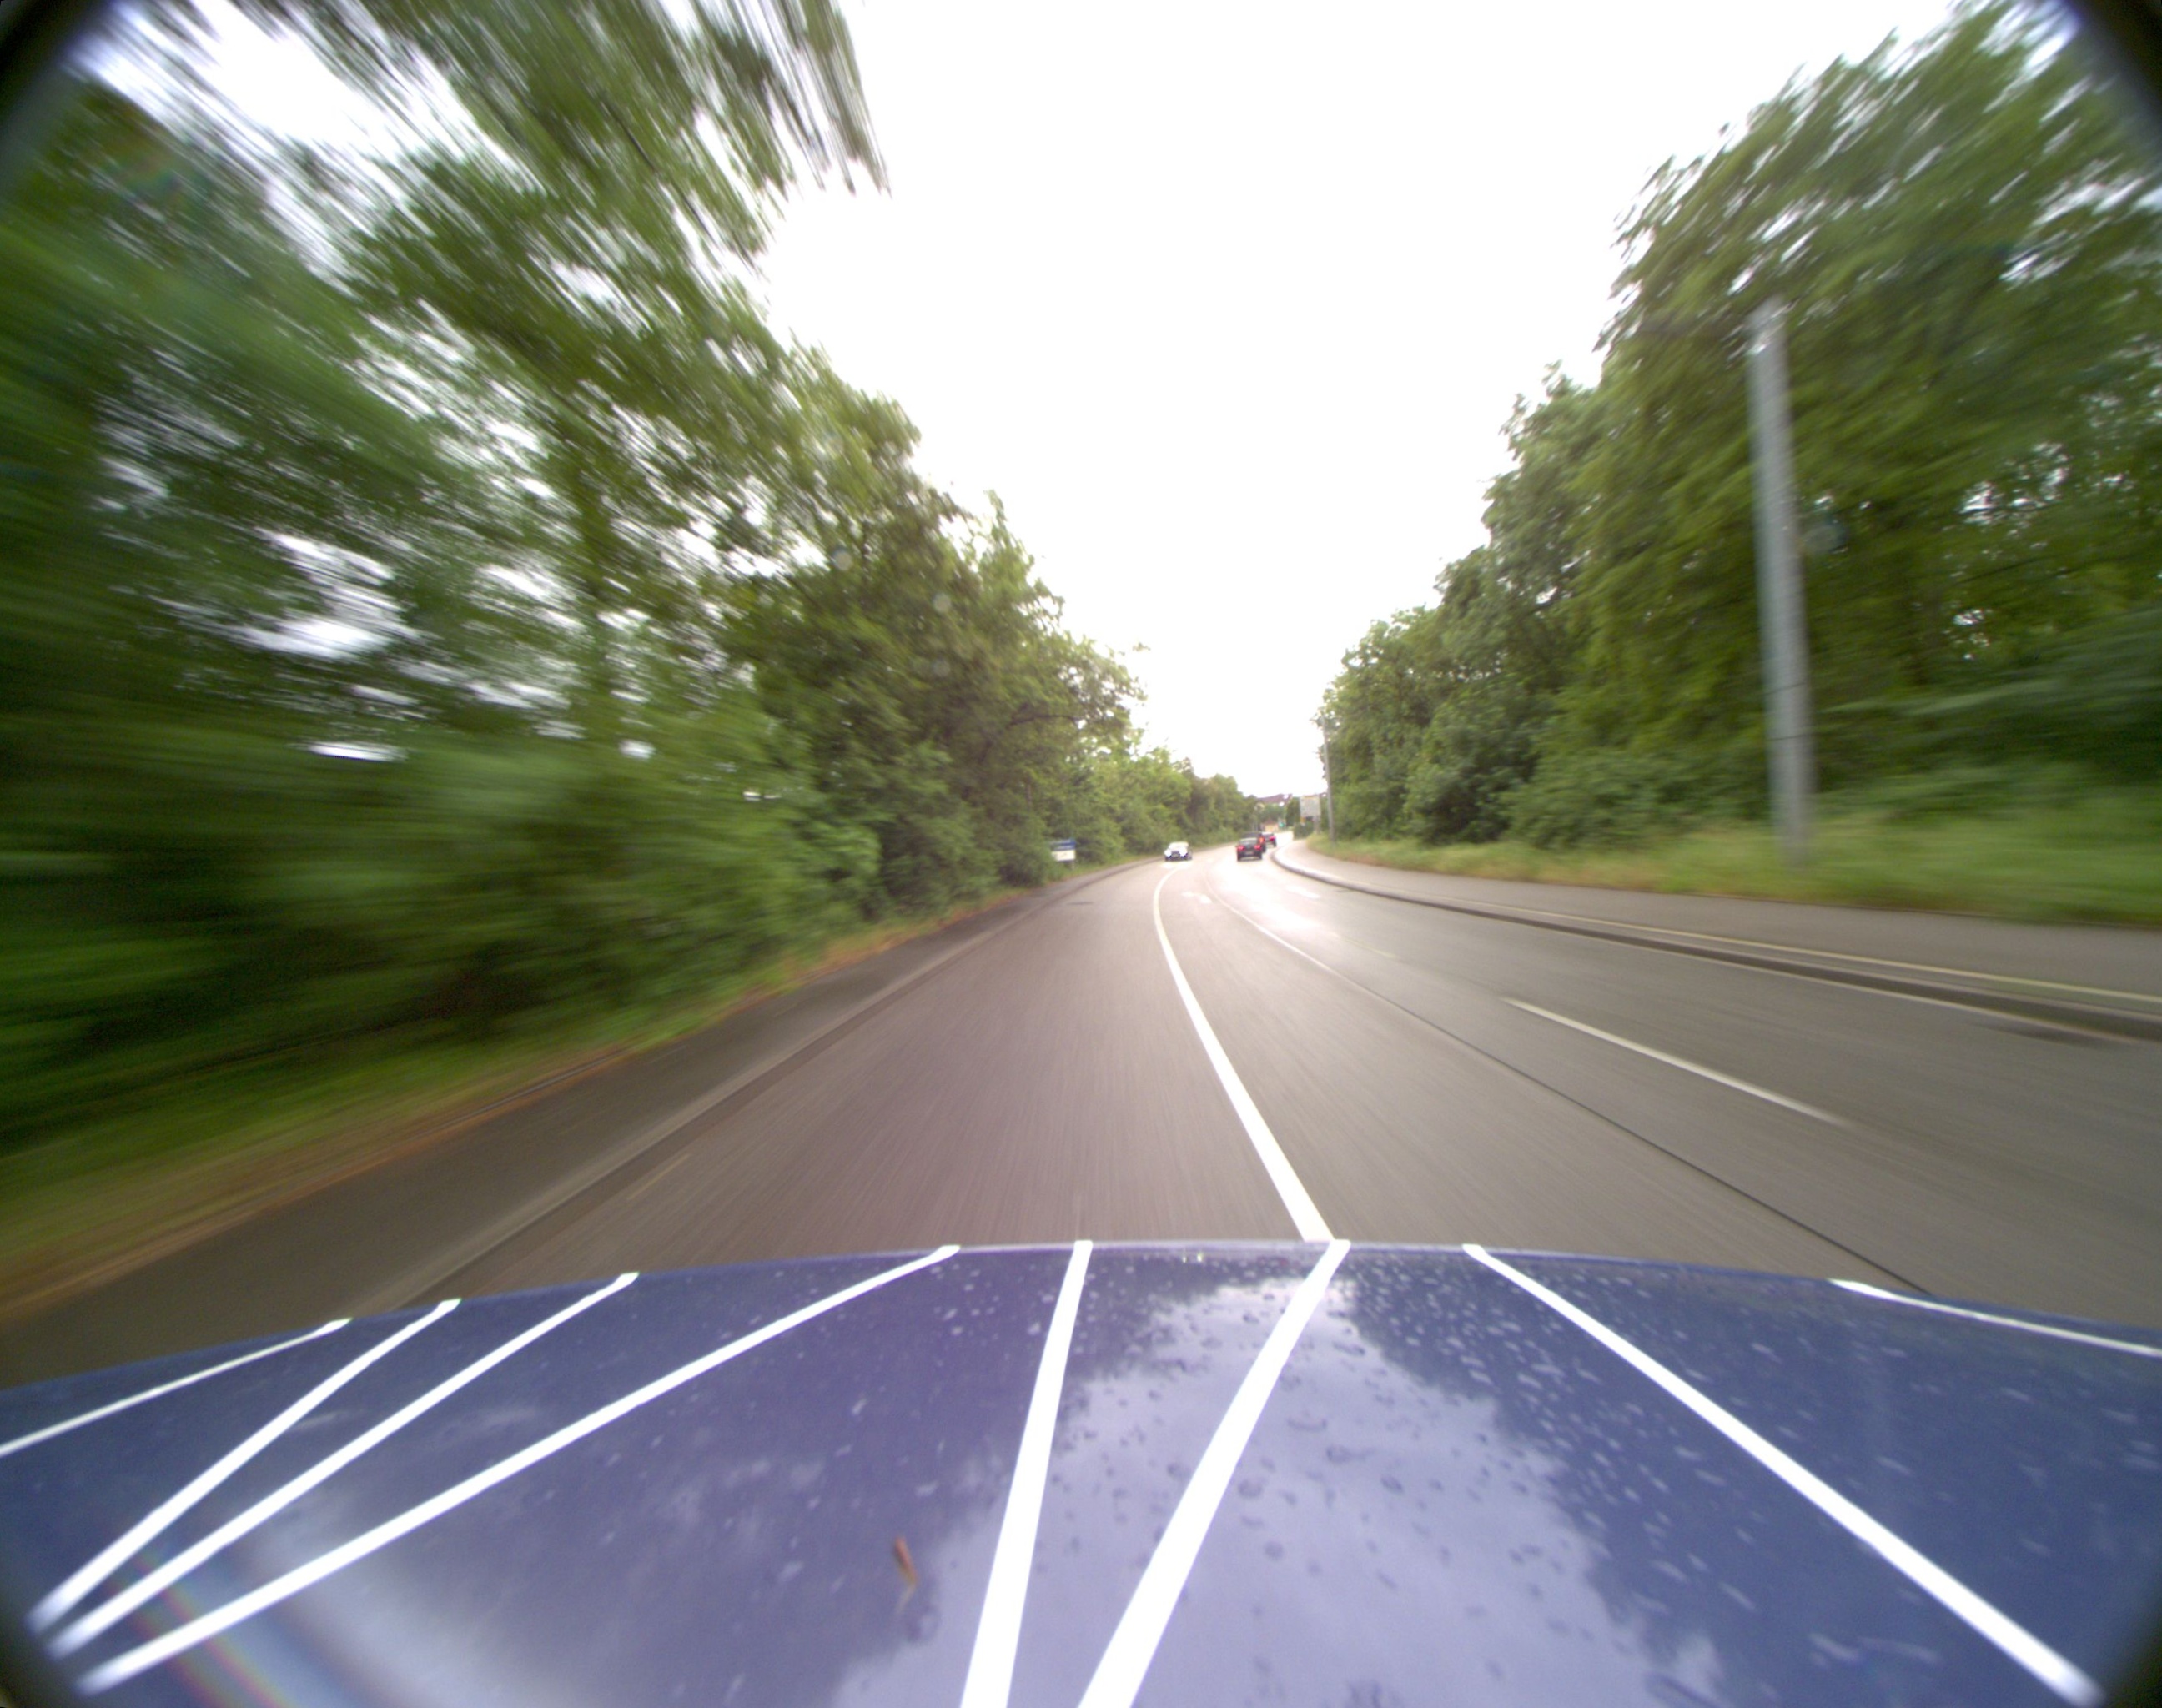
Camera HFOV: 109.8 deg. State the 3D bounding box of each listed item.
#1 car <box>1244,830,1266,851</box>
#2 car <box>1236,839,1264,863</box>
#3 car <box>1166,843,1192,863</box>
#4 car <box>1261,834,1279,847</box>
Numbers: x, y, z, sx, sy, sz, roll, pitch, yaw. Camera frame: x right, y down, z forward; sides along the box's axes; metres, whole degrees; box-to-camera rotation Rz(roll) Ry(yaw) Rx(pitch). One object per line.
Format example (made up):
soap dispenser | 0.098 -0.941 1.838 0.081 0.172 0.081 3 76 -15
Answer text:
car | 15.815 -1.233 69.243 1.830 1.832 4.715 1 0 11
car | 11.984 -0.189 54.098 1.830 1.431 4.005 -4 -2 11
car | 7.860 -0.100 60.726 1.830 1.511 4.004 1 0 11
car | 21.617 -1.522 86.848 1.830 1.511 4.004 1 0 11
